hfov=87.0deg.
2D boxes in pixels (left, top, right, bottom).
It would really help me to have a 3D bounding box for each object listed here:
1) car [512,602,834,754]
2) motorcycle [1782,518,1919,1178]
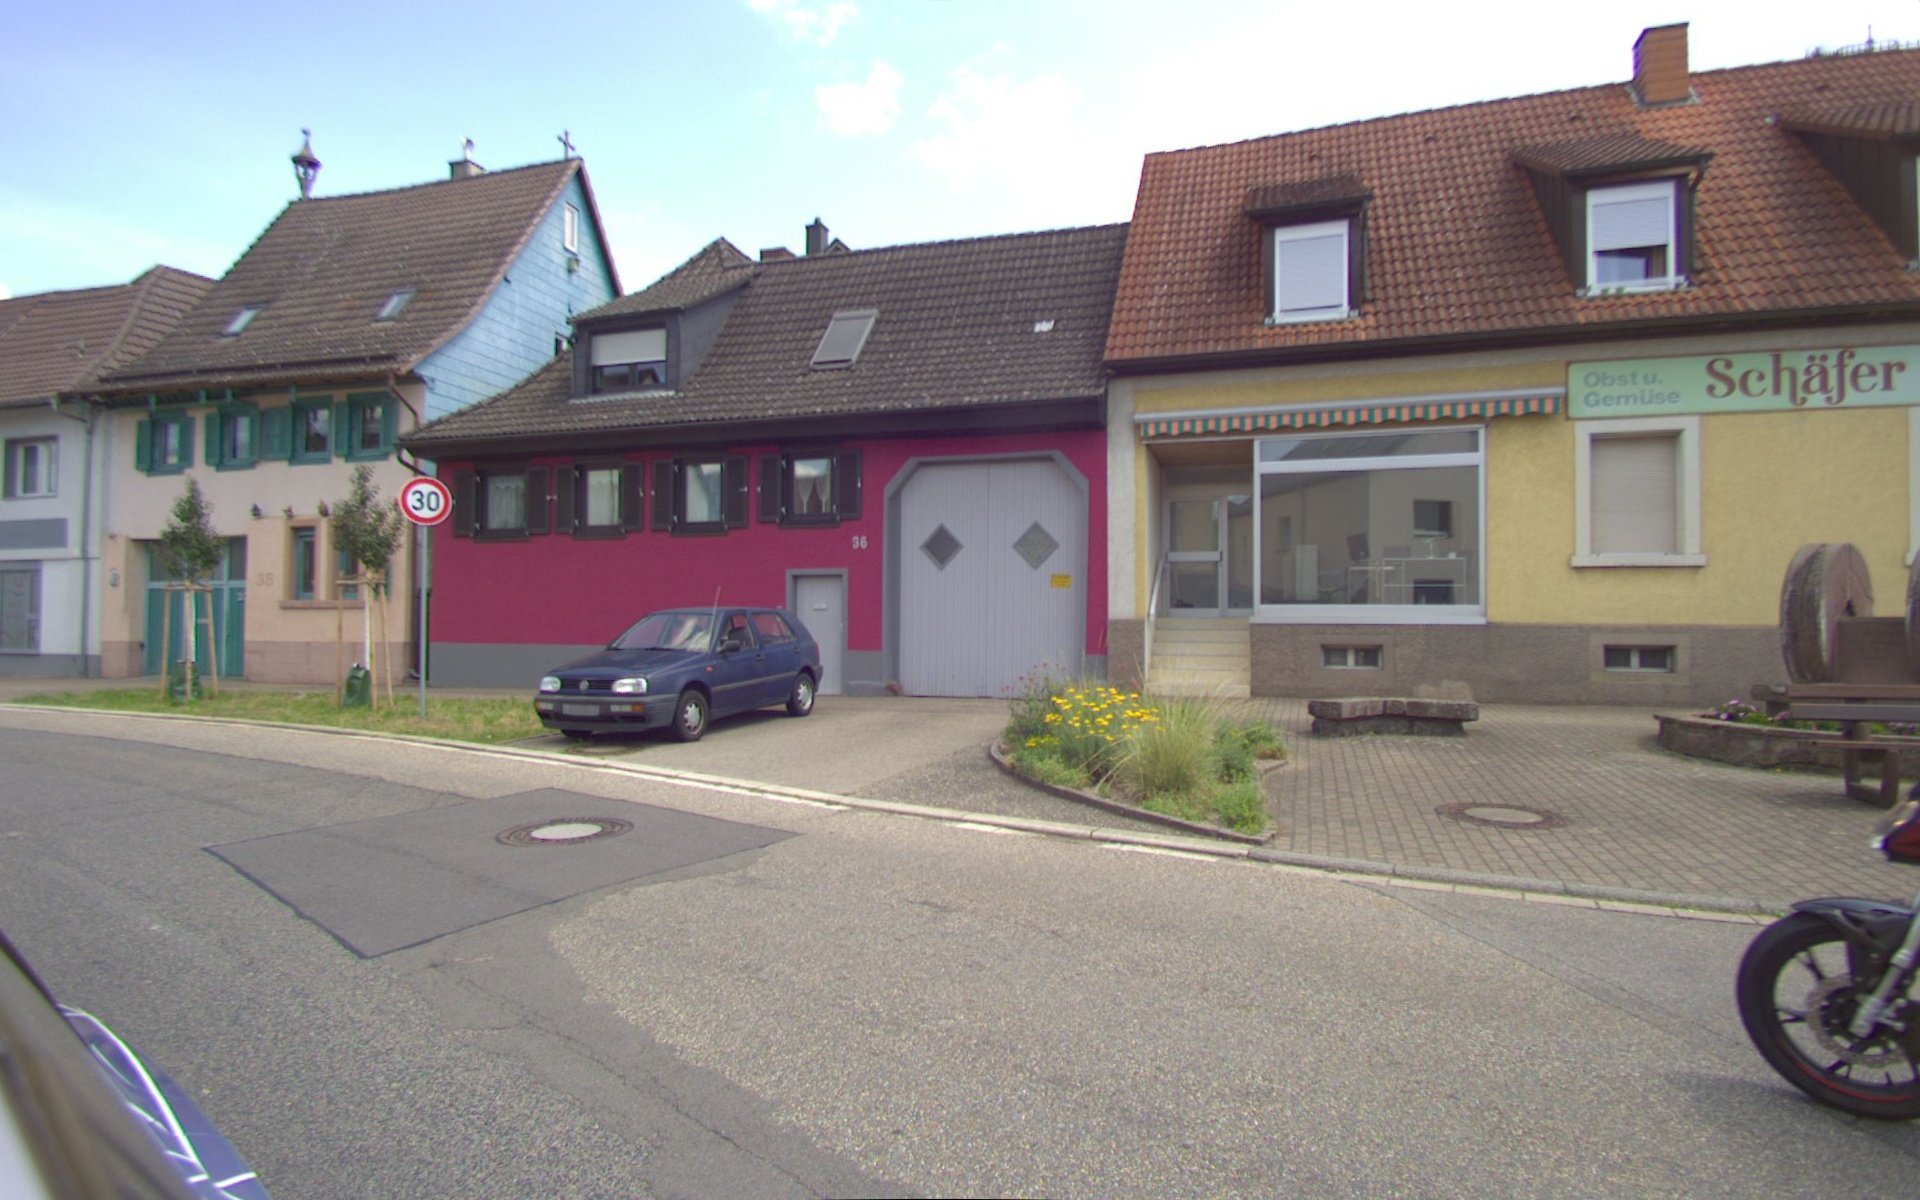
[{"bbox_3d":[-3.157,0.767,12.009,1.708,1.475,3.953,0,0,20],"label":"car"},{"bbox_3d":[3.130,0.574,2.223,1.967,1.573,0.870,-2,-2,43],"label":"motorcycle"}]
